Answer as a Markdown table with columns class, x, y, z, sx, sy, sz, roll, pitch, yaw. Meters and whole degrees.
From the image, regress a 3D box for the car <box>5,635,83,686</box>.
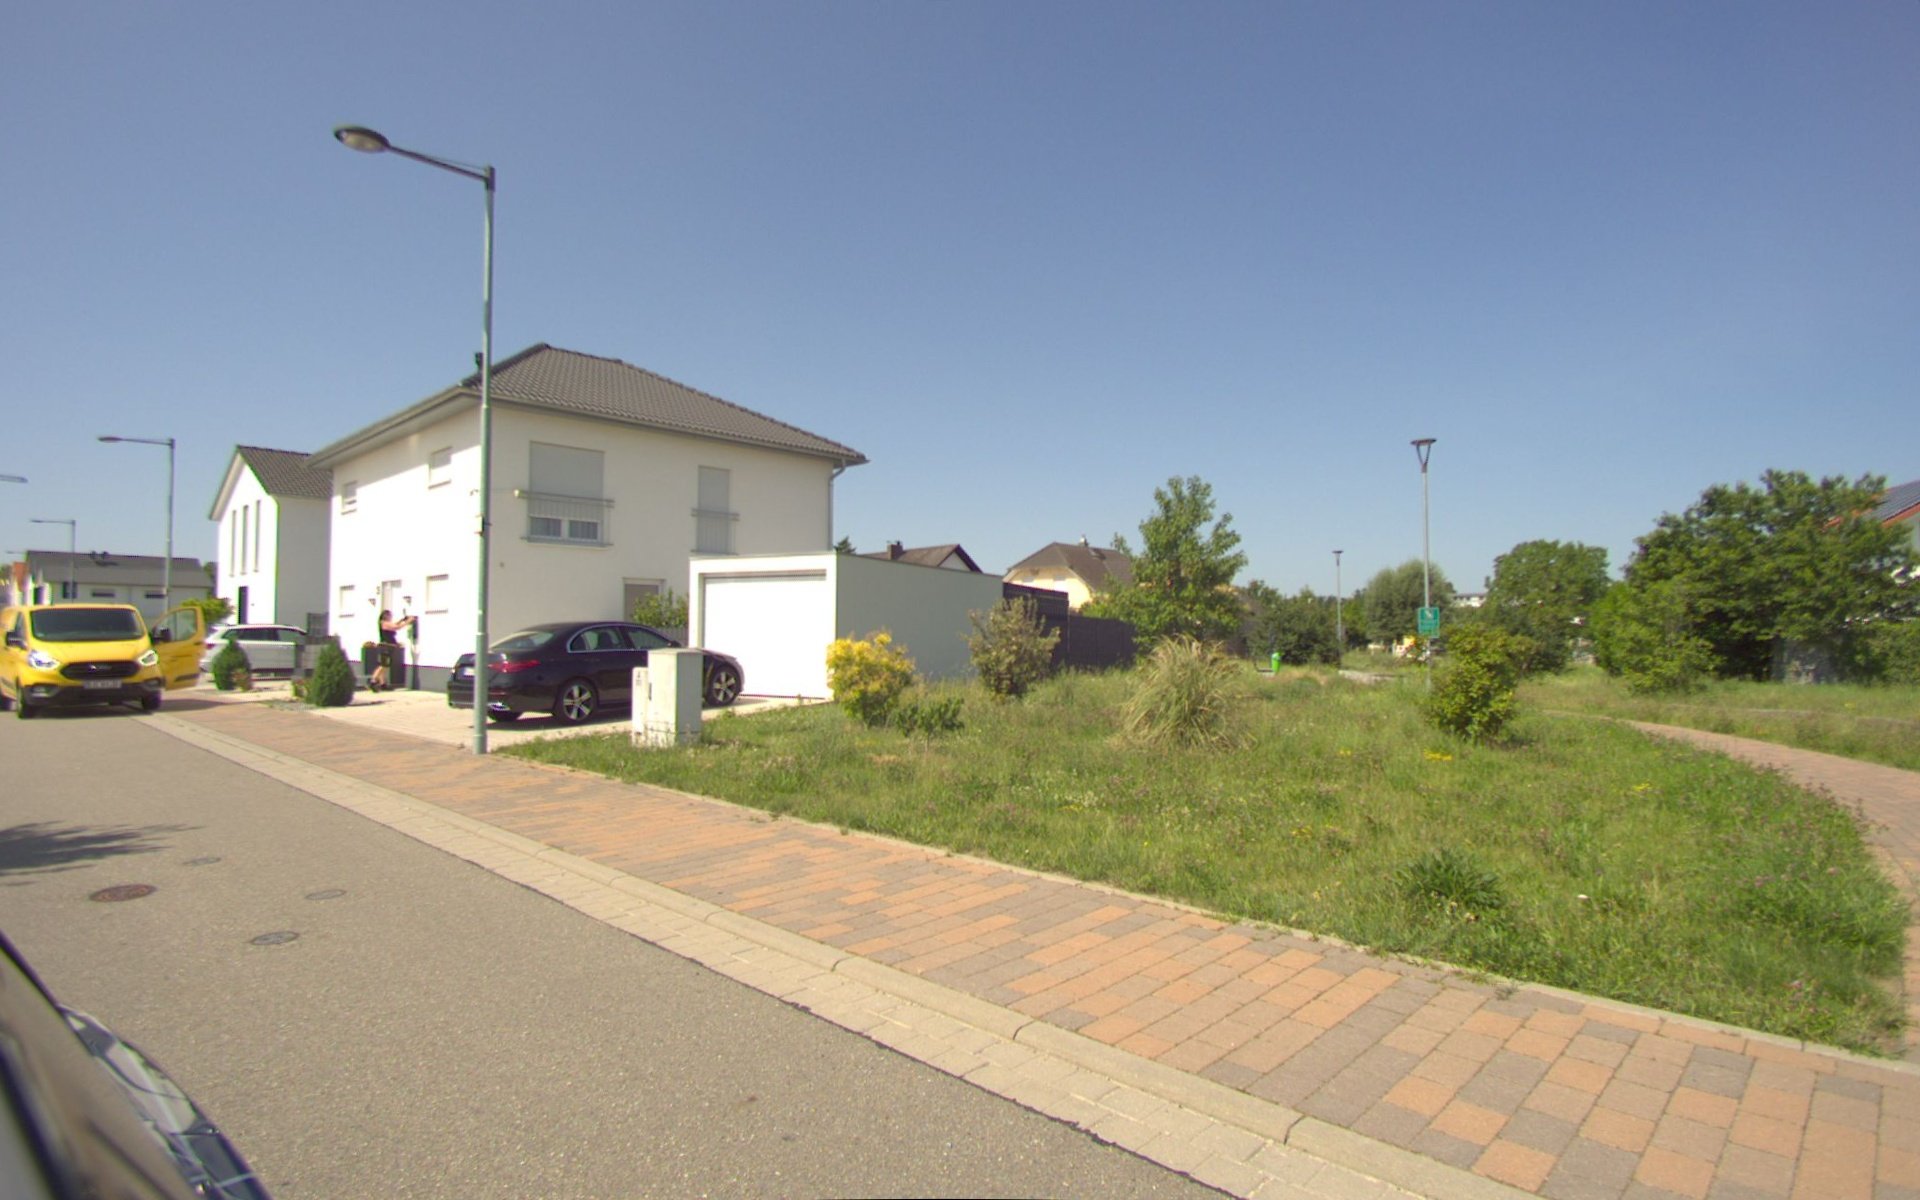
| class | x | y | z | sx | sy | sz | roll | pitch | yaw |
| --- | --- | --- | --- | --- | --- | --- | --- | --- | --- |
| car | -29.883 | 1.911 | 32.969 | 4.447 | 1.484 | 1.671 | -2 | -1 | 45 |

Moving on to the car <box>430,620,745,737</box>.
| class | x | y | z | sx | sy | sz | roll | pitch | yaw |
| --- | --- | --- | --- | --- | --- | --- | --- | --- | --- |
| car | -5.395 | 1.063 | 15.251 | 1.742 | 1.463 | 4.361 | -1 | -1 | 31 |

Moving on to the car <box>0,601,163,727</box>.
| class | x | y | z | sx | sy | sz | roll | pitch | yaw |
| --- | --- | --- | --- | --- | --- | --- | --- | --- | --- |
| car | -16.451 | 1.096 | 18.631 | 4.837 | 2.029 | 1.865 | -2 | -2 | 40 |

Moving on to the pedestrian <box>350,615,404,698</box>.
| class | x | y | z | sx | sy | sz | roll | pitch | yaw |
| --- | --- | --- | --- | --- | --- | --- | --- | --- | --- |
| pedestrian | -12.448 | 1.196 | 21.603 | 0.917 | 1.698 | 0.538 | -1 | -1 | -36 |
